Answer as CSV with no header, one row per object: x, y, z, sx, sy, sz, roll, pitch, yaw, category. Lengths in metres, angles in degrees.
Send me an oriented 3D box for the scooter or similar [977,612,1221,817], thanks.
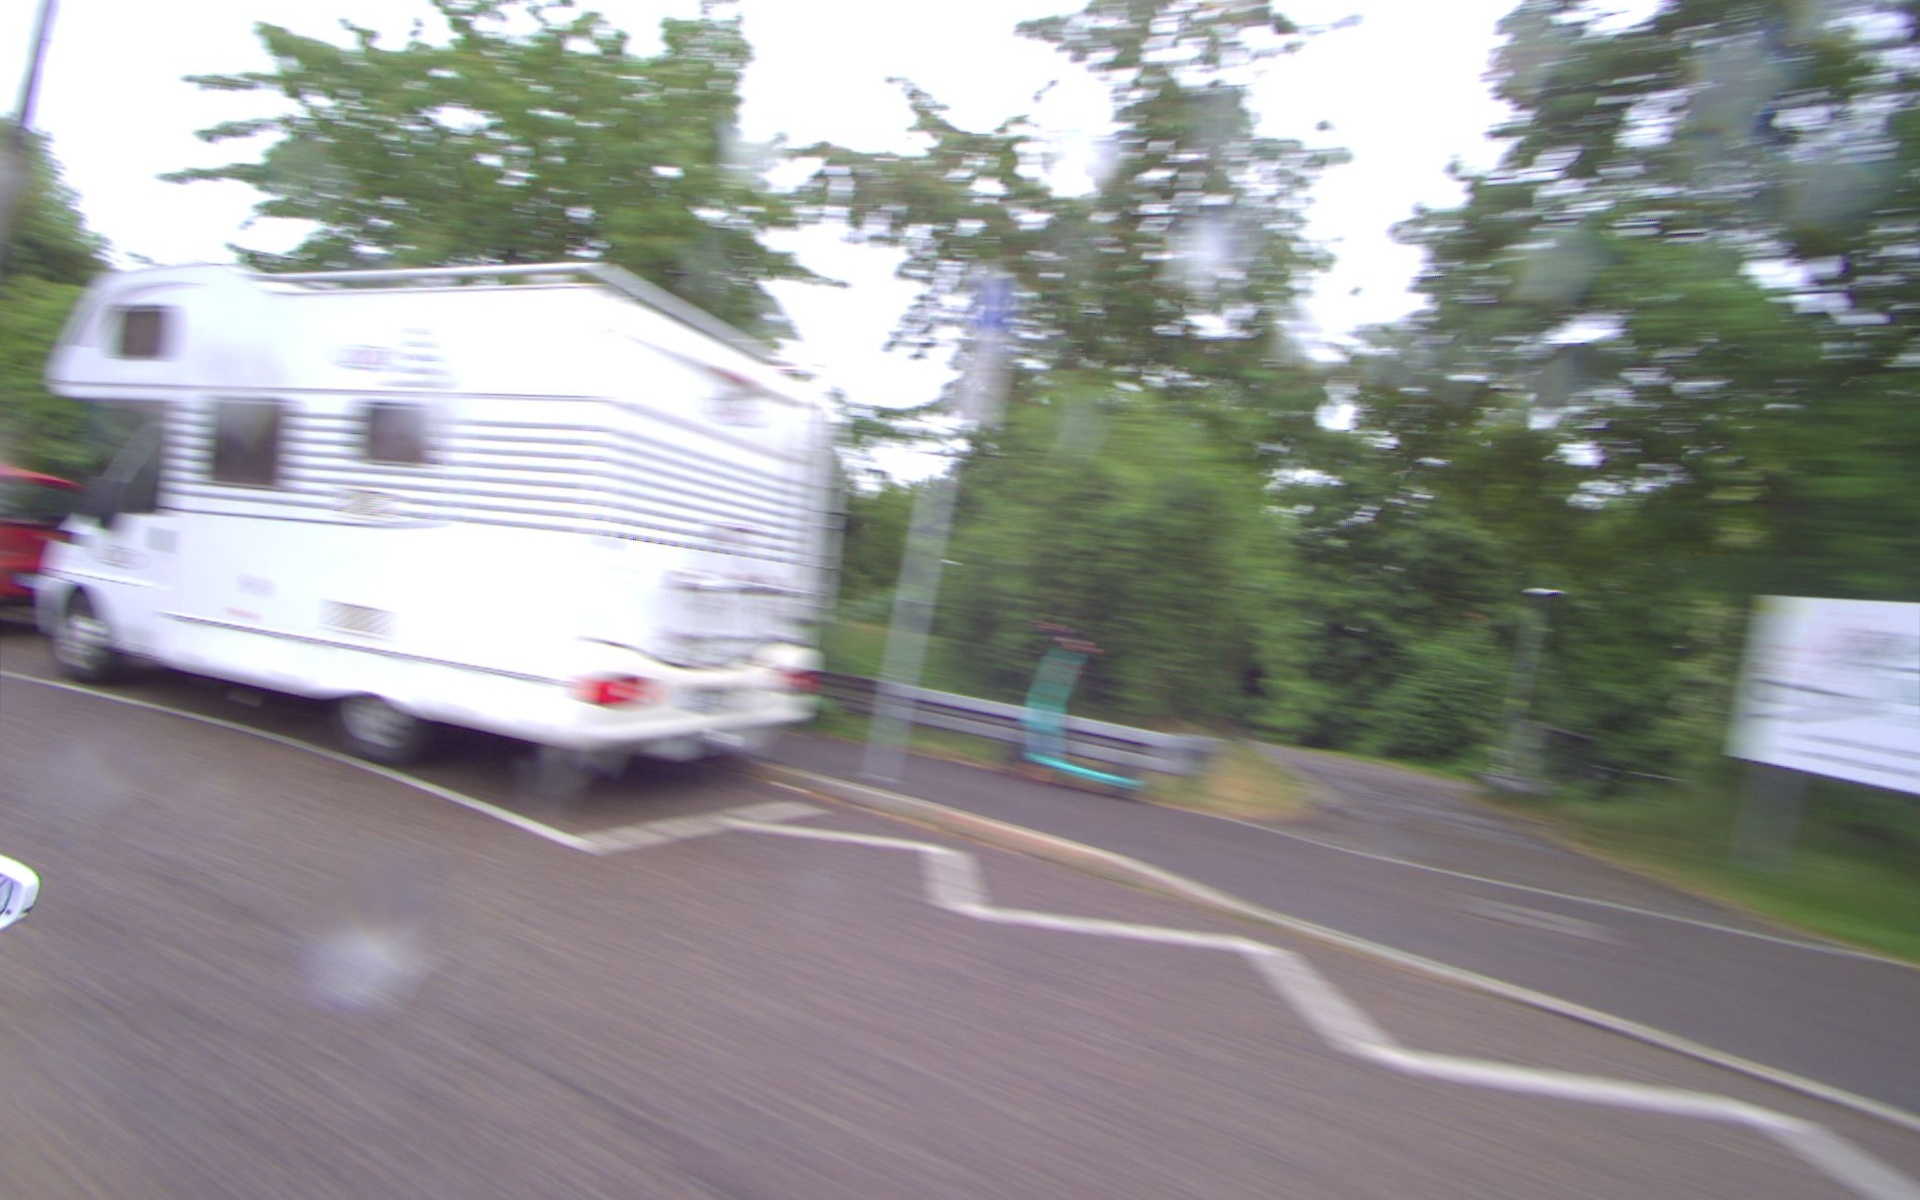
1.066,0.850,7.824,1.678,1.297,0.452,7,-1,23,scooter or similar

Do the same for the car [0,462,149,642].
-9.833,-0.646,9.039,3.735,1.480,1.645,8,2,3,car

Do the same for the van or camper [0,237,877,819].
-4.055,-0.703,7.419,6.166,2.982,2.395,8,2,23,van or camper
